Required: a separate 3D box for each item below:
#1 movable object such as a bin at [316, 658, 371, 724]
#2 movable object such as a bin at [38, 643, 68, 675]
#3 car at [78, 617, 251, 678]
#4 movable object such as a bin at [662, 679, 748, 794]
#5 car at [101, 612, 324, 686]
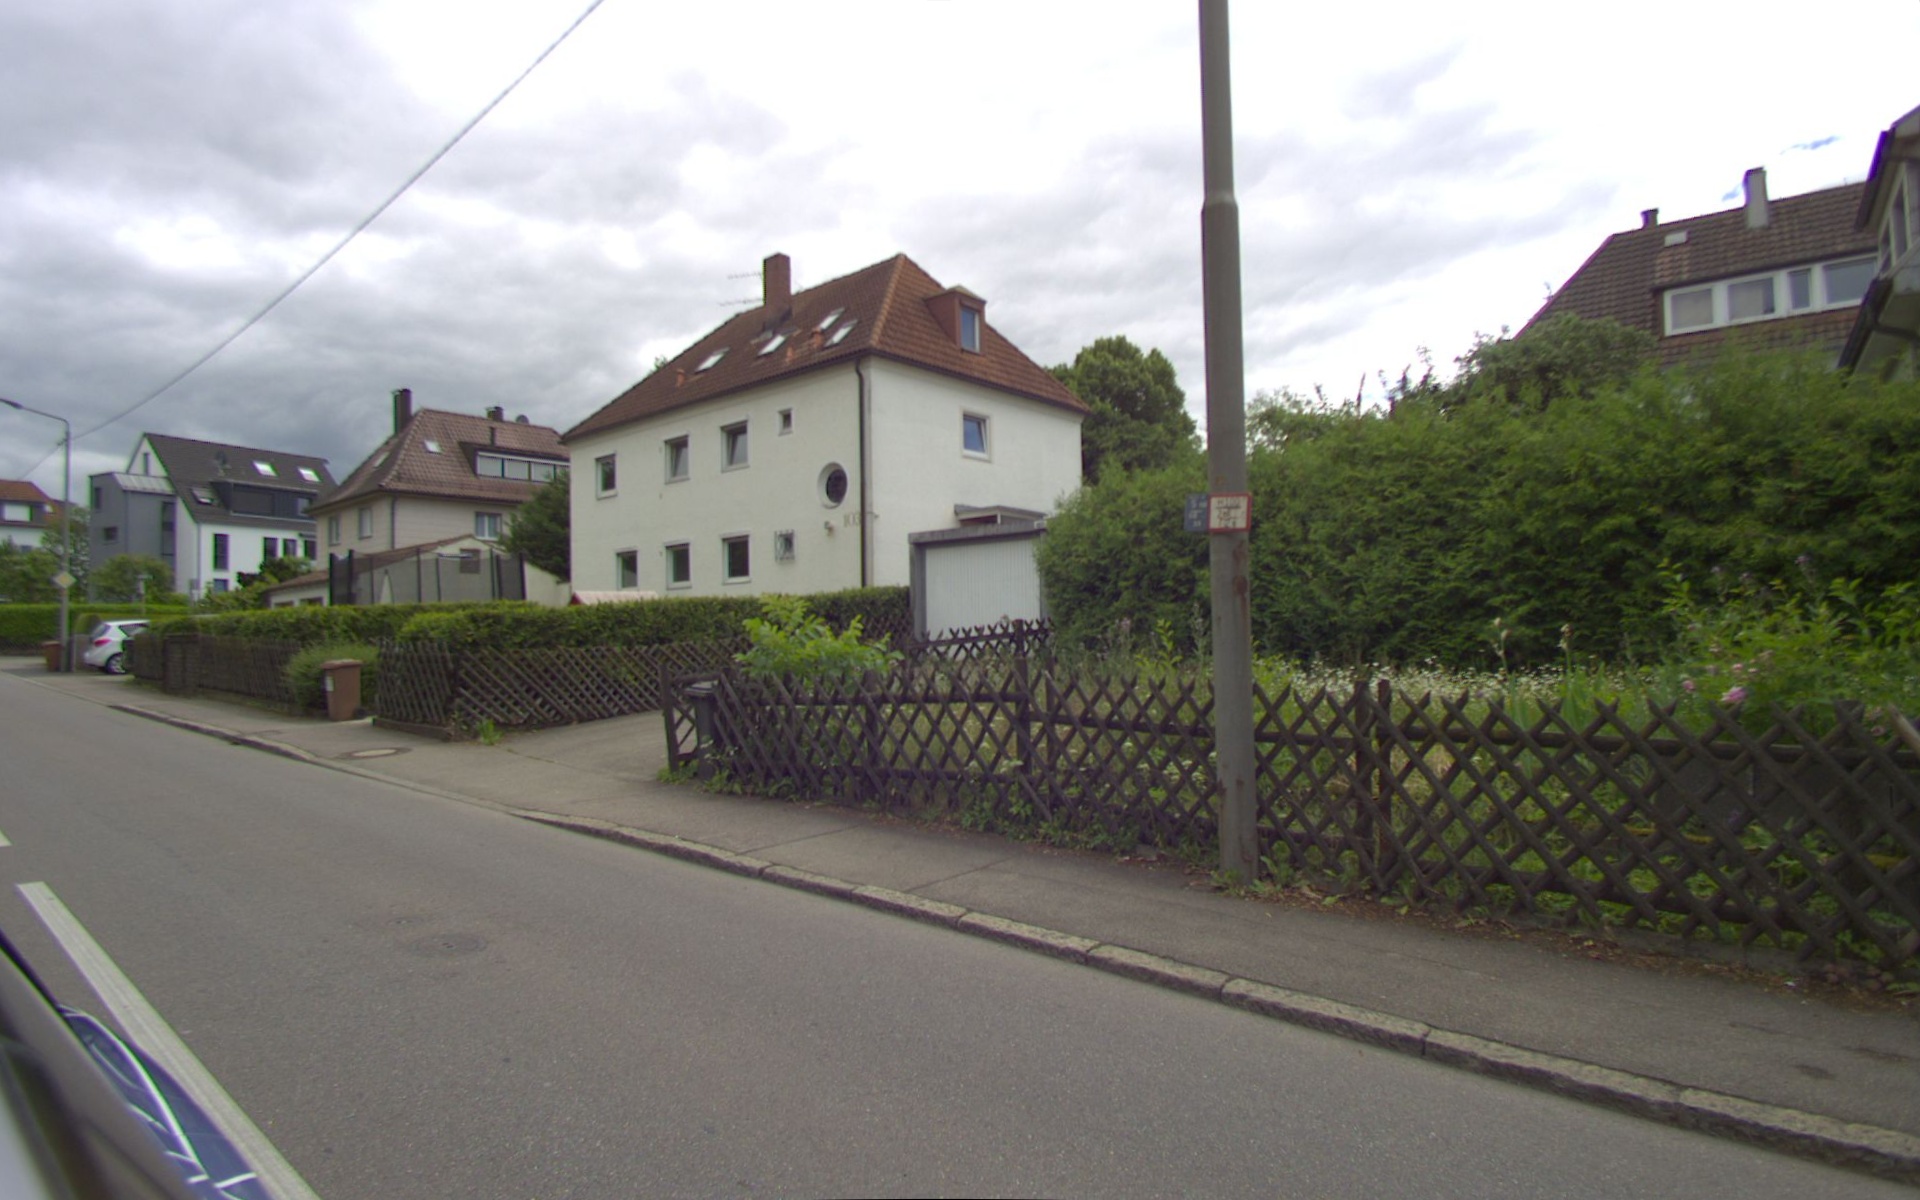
[{"bbox_3d":[-9.384,1.371,15.402,0.625,0.920,0.561,-1,-1,-39],"label":"movable object such as a bin"},{"bbox_3d":[-28.461,1.838,31.765,0.679,0.961,0.573,1,-2,-40],"label":"movable object such as a bin"},{"bbox_3d":[-24.669,1.421,31.483,1.718,1.606,3.946,-1,1,41],"label":"car"},{"bbox_3d":[-2.298,1.210,9.120,0.537,0.945,0.544,-2,-2,43],"label":"movable object such as a bin"},{"bbox_3d":[-20.510,1.274,27.956,1.881,1.682,4.624,-1,1,39],"label":"car"}]
